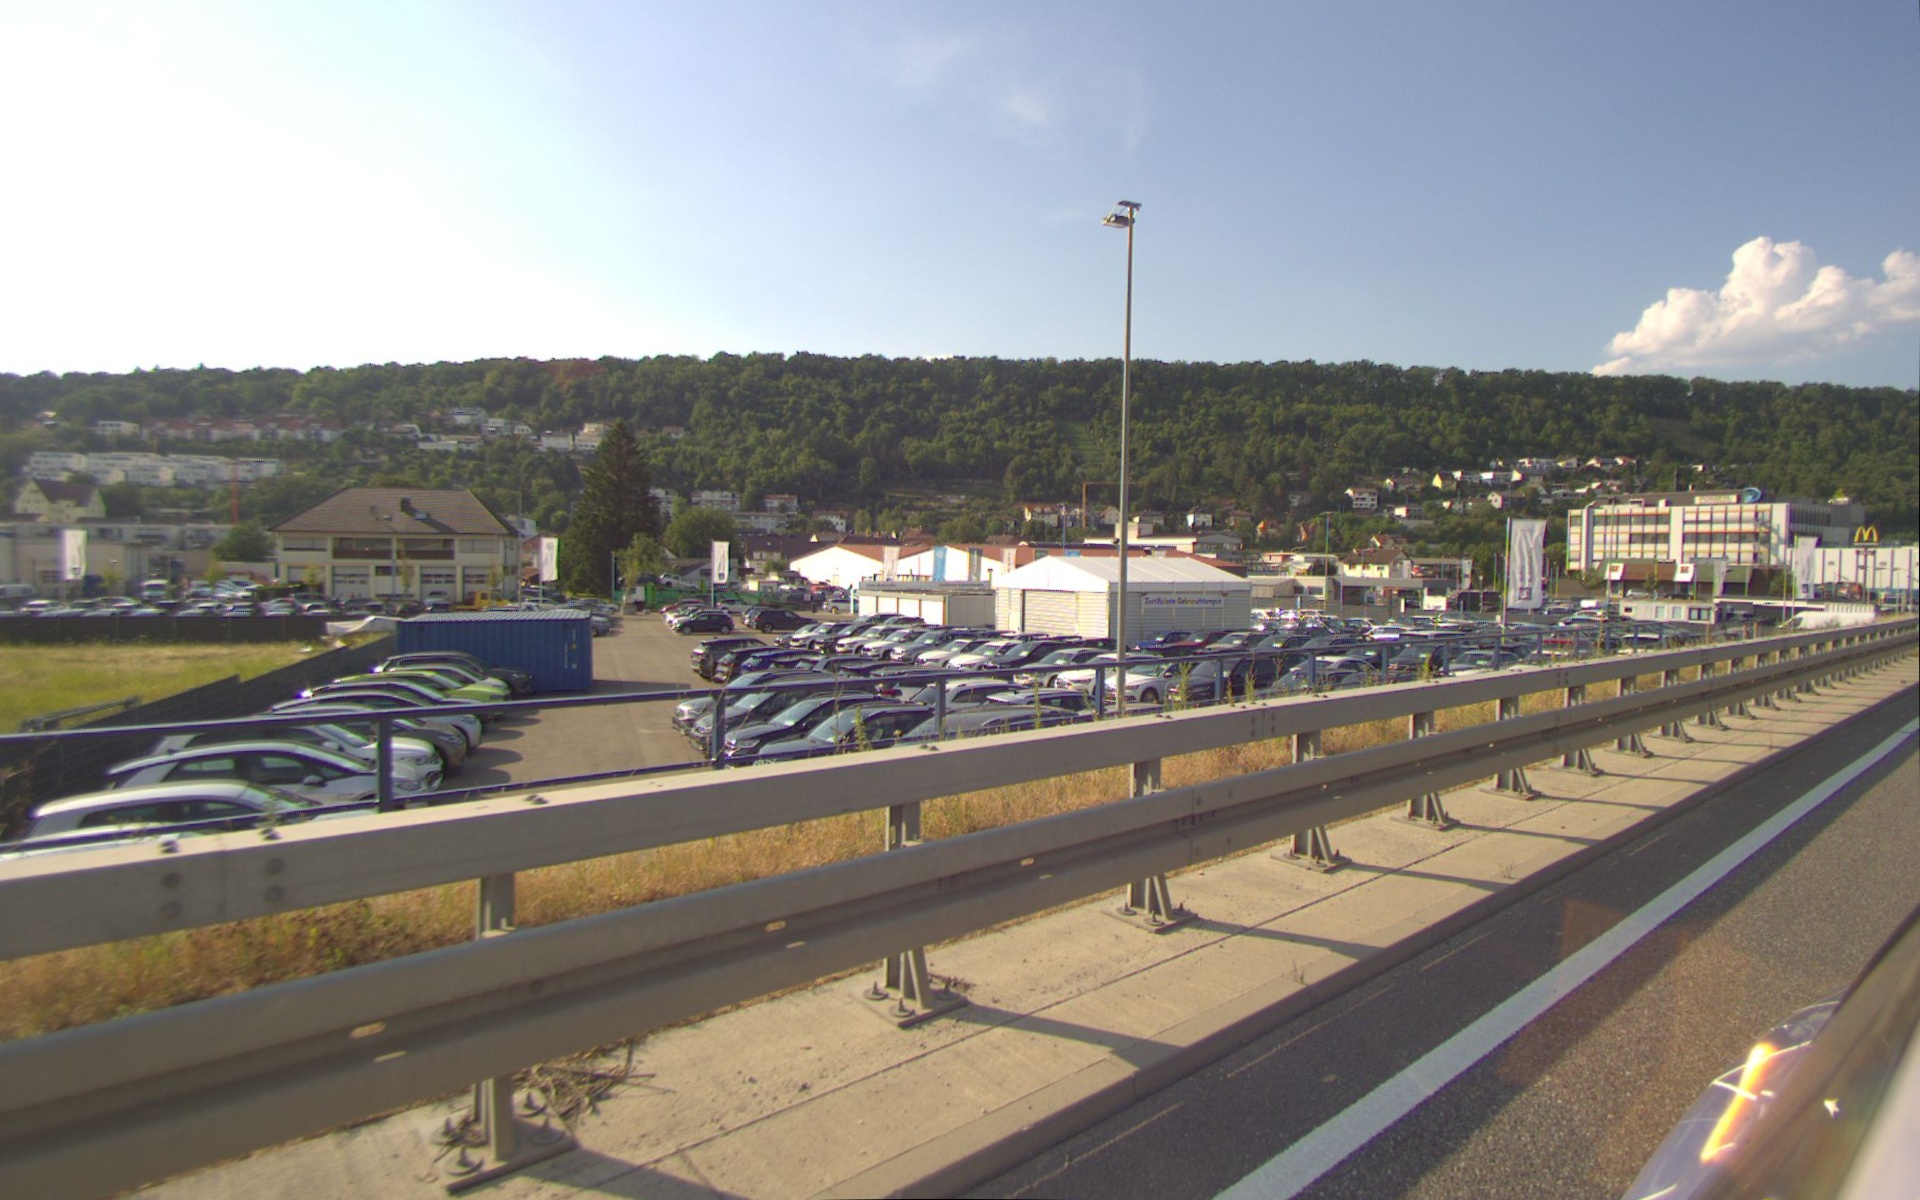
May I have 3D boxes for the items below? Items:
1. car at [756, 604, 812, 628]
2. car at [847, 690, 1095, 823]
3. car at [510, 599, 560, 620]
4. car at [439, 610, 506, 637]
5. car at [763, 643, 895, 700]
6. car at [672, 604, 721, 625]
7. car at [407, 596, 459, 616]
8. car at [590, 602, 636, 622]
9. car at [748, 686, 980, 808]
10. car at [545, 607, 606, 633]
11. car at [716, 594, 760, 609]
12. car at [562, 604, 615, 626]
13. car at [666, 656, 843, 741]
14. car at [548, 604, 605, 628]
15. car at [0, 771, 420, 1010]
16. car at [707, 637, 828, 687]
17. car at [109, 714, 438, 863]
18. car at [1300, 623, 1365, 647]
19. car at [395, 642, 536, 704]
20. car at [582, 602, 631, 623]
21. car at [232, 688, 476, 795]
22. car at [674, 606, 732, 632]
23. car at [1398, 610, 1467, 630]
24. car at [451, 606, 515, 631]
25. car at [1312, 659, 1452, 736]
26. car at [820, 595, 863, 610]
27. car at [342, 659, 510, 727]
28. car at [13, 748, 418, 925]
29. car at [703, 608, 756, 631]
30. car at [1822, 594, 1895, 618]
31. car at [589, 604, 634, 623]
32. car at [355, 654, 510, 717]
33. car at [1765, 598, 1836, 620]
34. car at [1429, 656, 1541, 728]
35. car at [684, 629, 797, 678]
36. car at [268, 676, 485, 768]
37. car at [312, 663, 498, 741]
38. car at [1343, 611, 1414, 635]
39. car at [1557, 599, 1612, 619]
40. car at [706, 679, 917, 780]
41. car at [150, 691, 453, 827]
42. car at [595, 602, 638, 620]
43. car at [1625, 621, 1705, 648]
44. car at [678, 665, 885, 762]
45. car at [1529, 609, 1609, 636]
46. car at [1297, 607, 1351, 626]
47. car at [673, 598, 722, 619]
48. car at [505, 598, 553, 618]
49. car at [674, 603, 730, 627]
[{"bbox_3d":[-12.560,1.139,72.099,3.701,1.597,1.756,-1,1,-19],"label":"car"},{"bbox_3d":[0.263,2.440,16.606,3.931,1.482,1.709,-2,1,-41],"label":"car"},{"bbox_3d":[-34.583,0.738,82.451,3.701,1.597,1.756,-1,1,-21],"label":"car"},{"bbox_3d":[-31.388,1.487,65.271,3.701,1.597,1.756,-1,1,-21],"label":"car"},{"bbox_3d":[-4.229,2.278,32.904,3.926,1.482,1.711,-1,1,-37],"label":"car"},{"bbox_3d":[-21.600,1.173,82.991,3.701,1.597,1.756,-1,1,-19],"label":"car"},{"bbox_3d":[-44.513,0.489,85.614,3.701,1.597,1.756,-1,1,-21],"label":"car"},{"bbox_3d":[-30.382,1.017,88.580,3.702,1.597,1.756,-1,1,-24],"label":"car"},{"bbox_3d":[-1.682,2.560,18.399,3.929,1.583,1.710,-1,1,-39],"label":"car"},{"bbox_3d":[-25.654,1.328,67.473,3.702,1.597,1.756,-1,1,-24],"label":"car"},{"bbox_3d":[-21.237,0.121,96.809,3.916,1.367,1.593,-1,1,-18],"label":"car"},{"bbox_3d":[-28.720,1.146,78.215,3.702,1.597,1.756,-1,1,-24],"label":"car"},{"bbox_3d":[-5.099,2.374,25.144,3.919,1.663,1.962,-1,1,-29],"label":"car"},{"bbox_3d":[-27.306,1.138,72.027,3.702,1.597,1.756,-1,1,-24],"label":"car"},{"bbox_3d":[-7.954,2.872,10.515,3.926,1.482,1.711,-1,1,-36],"label":"car"},{"bbox_3d":[-6.917,2.188,36.502,3.926,1.482,1.711,-1,1,-37],"label":"car"},{"bbox_3d":[-10.140,2.729,15.350,3.919,1.518,1.826,-1,1,-28],"label":"car"},{"bbox_3d":[25.405,2.367,69.163,1.745,1.474,4.005,-1,1,-29],"label":"car"},{"bbox_3d":[-15.673,2.264,32.129,3.919,1.614,1.962,-1,1,-29],"label":"car"},{"bbox_3d":[-29.479,1.020,84.336,3.702,1.597,1.756,-1,1,-24],"label":"car"},{"bbox_3d":[-11.703,2.677,19.828,3.919,1.482,1.962,-1,1,-29],"label":"car"},{"bbox_3d":[-17.590,1.280,69.321,3.701,1.597,1.756,-1,1,-19],"label":"car"},{"bbox_3d":[35.645,1.481,76.423,1.766,1.386,4.434,-1,1,-33],"label":"car"},{"bbox_3d":[-32.035,1.228,68.070,3.701,1.597,1.756,-1,1,-21],"label":"car"},{"bbox_3d":[10.670,2.376,25.455,3.931,1.482,1.708,-2,1,-41],"label":"car"},{"bbox_3d":[-12.397,0.225,105.922,4.138,1.521,1.593,-1,1,-18],"label":"car"},{"bbox_3d":[-14.463,2.487,27.637,3.918,1.482,1.714,-1,1,-25],"label":"car"},{"bbox_3d":[-9.179,2.873,12.944,3.919,1.371,1.826,-1,1,-28],"label":"car"},{"bbox_3d":[-17.381,1.422,76.134,3.701,1.597,1.756,-1,1,-19],"label":"car"},{"bbox_3d":[69.692,0.442,78.543,1.868,1.772,3.996,-1,1,-39],"label":"car"},{"bbox_3d":[-31.132,1.169,90.411,3.702,1.597,1.756,-1,1,-24],"label":"car"},{"bbox_3d":[-15.437,2.459,29.804,3.918,1.482,1.714,-1,1,-25],"label":"car"},{"bbox_3d":[71.153,0.770,85.701,2.093,1.772,4.331,-1,1,-39],"label":"car"},{"bbox_3d":[15.551,2.653,29.901,3.769,1.700,1.615,-1,1,-40],"label":"car"},{"bbox_3d":[-8.450,2.033,39.139,3.926,1.623,1.711,-1,1,-37],"label":"car"},{"bbox_3d":[-12.613,2.588,22.104,3.919,1.482,1.962,-1,1,-29],"label":"car"},{"bbox_3d":[-13.771,2.477,25.264,3.920,1.521,1.815,-1,1,-29],"label":"car"},{"bbox_3d":[29.660,1.620,71.905,1.766,1.563,4.434,-1,1,-33],"label":"car"},{"bbox_3d":[57.998,0.820,94.006,1.772,1.677,3.999,-1,3,-37],"label":"car"},{"bbox_3d":[-2.963,2.536,20.582,3.929,1.482,1.710,-1,1,-39],"label":"car"},{"bbox_3d":[-11.130,2.627,17.488,4.158,1.662,1.962,-1,1,-29],"label":"car"},{"bbox_3d":[-32.464,1.037,95.651,3.702,1.597,1.756,-1,1,-24],"label":"car"},{"bbox_3d":[46.344,2.241,66.598,1.754,1.563,3.984,-1,1,-37],"label":"car"},{"bbox_3d":[-3.954,2.452,22.776,4.274,1.643,1.711,-1,1,-36],"label":"car"},{"bbox_3d":[42.206,1.526,70.217,1.766,1.735,4.434,-1,1,-33],"label":"car"},{"bbox_3d":[31.995,1.443,89.019,1.766,1.563,4.347,-1,1,-33],"label":"car"},{"bbox_3d":[-20.907,0.664,80.581,3.701,1.597,1.756,-1,1,-19],"label":"car"},{"bbox_3d":[-36.797,0.657,86.551,3.701,1.597,1.756,-1,1,-21],"label":"car"},{"bbox_3d":[-18.456,1.071,72.383,3.701,1.597,1.756,-1,1,-19],"label":"car"}]
